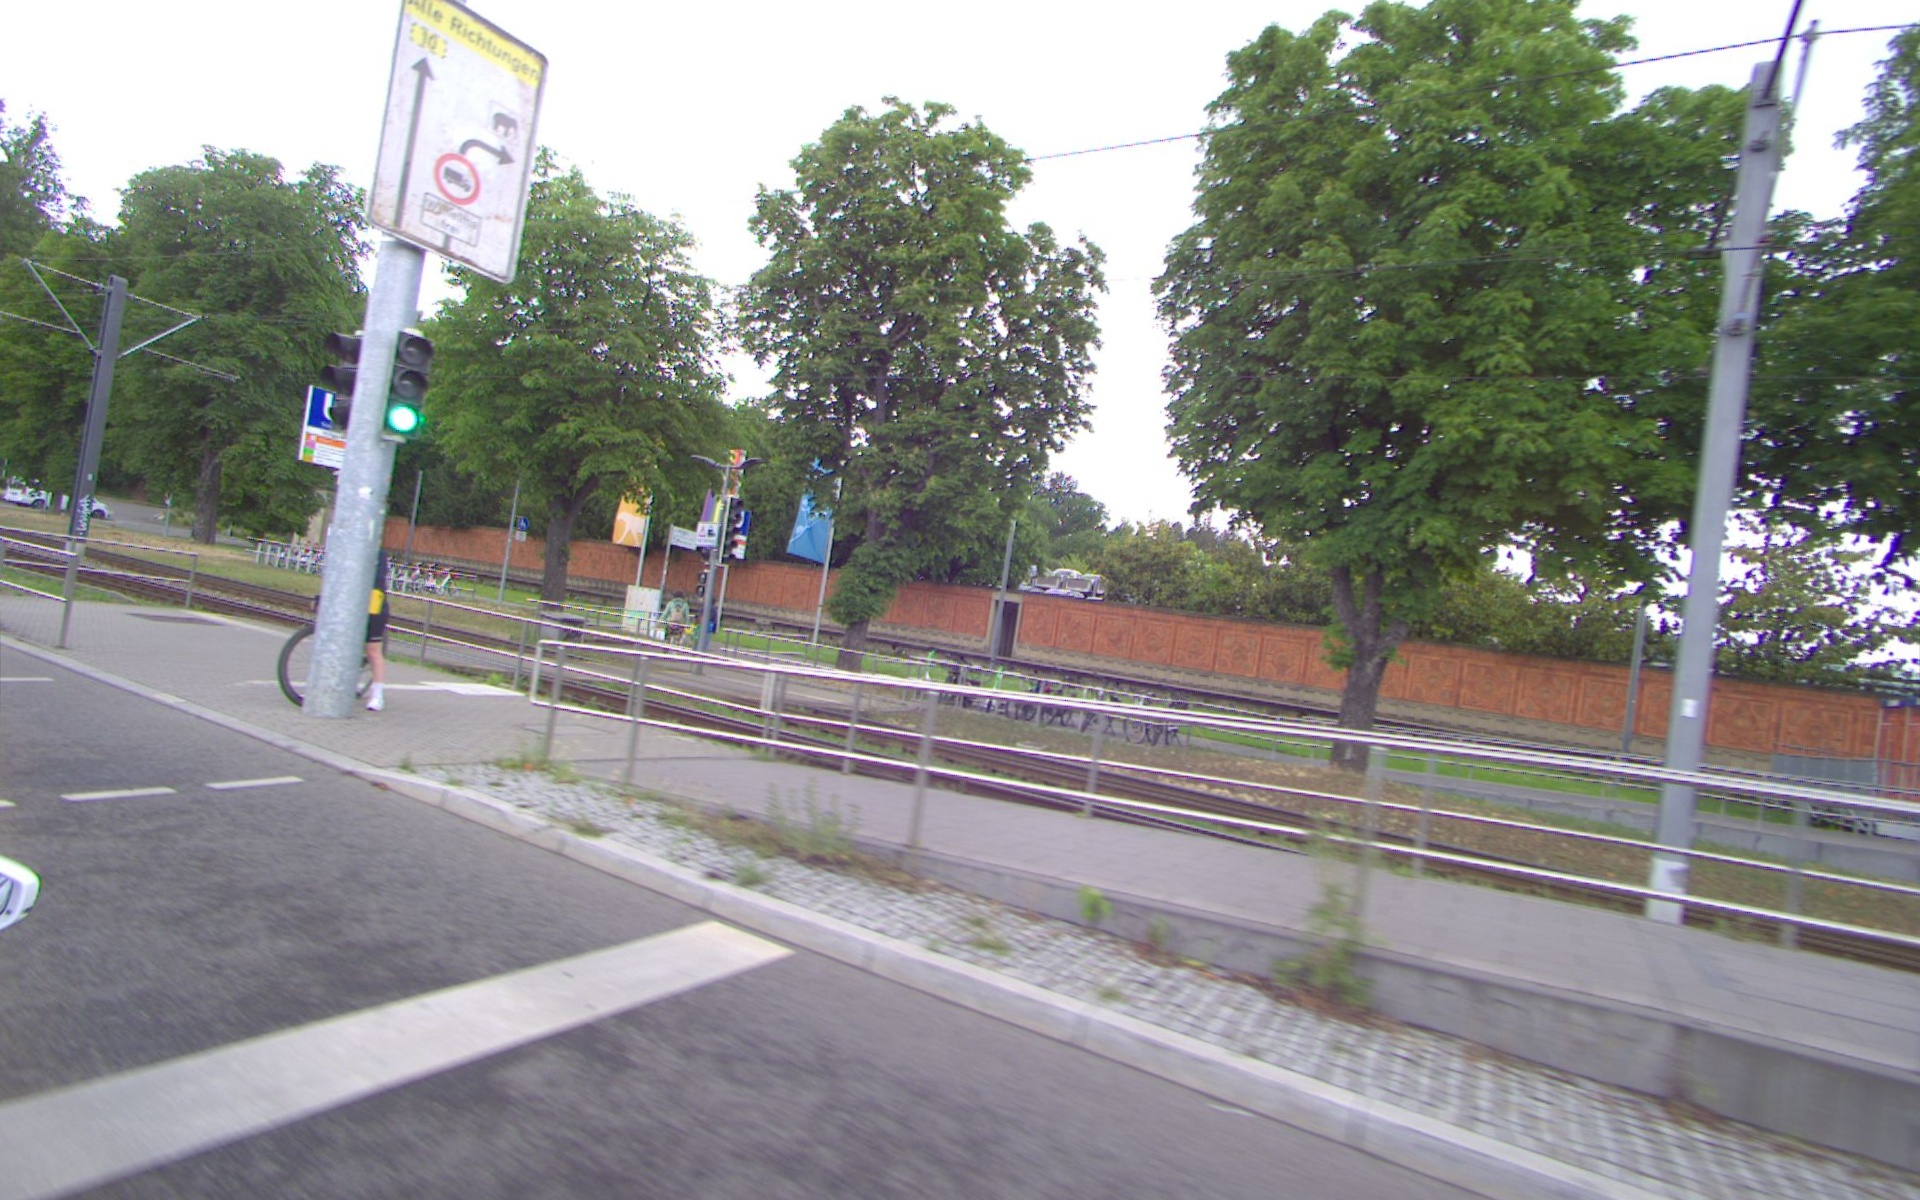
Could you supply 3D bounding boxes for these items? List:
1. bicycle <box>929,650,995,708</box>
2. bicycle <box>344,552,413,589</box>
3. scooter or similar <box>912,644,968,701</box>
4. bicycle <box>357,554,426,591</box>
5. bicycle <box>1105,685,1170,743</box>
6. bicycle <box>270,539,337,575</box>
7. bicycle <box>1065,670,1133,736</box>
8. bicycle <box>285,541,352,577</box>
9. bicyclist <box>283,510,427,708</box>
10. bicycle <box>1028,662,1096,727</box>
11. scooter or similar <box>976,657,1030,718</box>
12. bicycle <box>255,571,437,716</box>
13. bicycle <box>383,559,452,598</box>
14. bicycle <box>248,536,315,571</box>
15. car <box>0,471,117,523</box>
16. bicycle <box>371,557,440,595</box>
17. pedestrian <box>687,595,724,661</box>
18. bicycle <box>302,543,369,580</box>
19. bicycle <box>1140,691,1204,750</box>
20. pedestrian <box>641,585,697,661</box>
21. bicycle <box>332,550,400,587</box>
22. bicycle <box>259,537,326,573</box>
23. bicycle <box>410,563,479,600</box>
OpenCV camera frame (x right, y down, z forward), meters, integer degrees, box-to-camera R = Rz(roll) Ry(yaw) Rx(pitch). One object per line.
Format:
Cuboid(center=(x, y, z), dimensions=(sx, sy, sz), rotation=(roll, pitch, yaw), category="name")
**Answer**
Cuboid(center=(0.058, 1.744, 22.066), dimensions=(0.475, 1.044, 1.770), rotation=(7, -5, 31), category="bicycle")
Cuboid(center=(-19.842, -0.992, 34.363), dimensions=(0.522, 0.986, 1.916), rotation=(8, -2, 31), category="bicycle")
Cuboid(center=(-0.456, 1.678, 23.223), dimensions=(1.157, 1.151, 0.330), rotation=(12, -4, -35), category="scooter or similar")
Cuboid(center=(-19.208, -0.915, 34.012), dimensions=(0.522, 0.986, 1.916), rotation=(8, -2, 31), category="bicycle")
Cuboid(center=(3.566, 2.288, 20.064), dimensions=(0.524, 0.973, 1.880), rotation=(7, -5, 31), category="bicycle")
Cuboid(center=(-23.773, -1.555, 36.464), dimensions=(0.522, 0.986, 1.916), rotation=(8, -2, 31), category="bicycle")
Cuboid(center=(2.848, 2.114, 20.438), dimensions=(0.524, 1.150, 1.880), rotation=(7, -5, 31), category="bicycle")
Cuboid(center=(-23.081, -1.467, 36.236), dimensions=(0.522, 0.986, 1.916), rotation=(8, -2, 31), category="bicycle")
Cuboid(center=(-5.353, 0.086, 8.954), dimensions=(0.608, 1.590, 0.805), rotation=(10, -1, -8), category="bicyclist")
Cuboid(center=(2.157, 2.005, 21.097), dimensions=(0.524, 1.150, 1.880), rotation=(7, -5, 31), category="bicycle")
Cuboid(center=(0.936, 1.884, 21.632), dimensions=(0.328, 1.150, 1.277), rotation=(7, -5, 38), category="scooter or similar")
Cuboid(center=(-5.409, 0.363, 8.993), dimensions=(0.610, 1.086, 1.682), rotation=(10, -2, -8), category="bicycle")
Cuboid(center=(-17.886, -0.701, 33.209), dimensions=(0.522, 0.986, 1.916), rotation=(8, -2, 31), category="bicycle")
Cuboid(center=(-25.299, -1.728, 37.548), dimensions=(0.522, 0.986, 1.916), rotation=(8, -2, 31), category="bicycle")
Cuboid(center=(-57.516, -6.525, 64.183), dimensions=(2.167, 2.035, 5.158), rotation=(8, -4, 22), category="car")
Cuboid(center=(-18.450, -0.774, 33.499), dimensions=(0.522, 0.986, 1.916), rotation=(8, -2, 31), category="bicycle")
Cuboid(center=(-6.149, 0.690, 24.339), dimensions=(0.506, 1.519, 0.498), rotation=(8, -1, 9), category="pedestrian")
Cuboid(center=(-22.305, -1.364, 35.982), dimensions=(0.522, 0.986, 1.916), rotation=(8, -2, 31), category="bicycle")
Cuboid(center=(4.180, 2.374, 19.709), dimensions=(0.524, 0.973, 1.880), rotation=(7, -5, 31), category="bicycle")
Cuboid(center=(-6.711, 0.537, 23.230), dimensions=(0.763, 1.628, 0.836), rotation=(8, -1, 9), category="pedestrian")
Cuboid(center=(-20.498, -1.085, 34.753), dimensions=(0.522, 0.986, 1.916), rotation=(8, -2, 31), category="bicycle")
Cuboid(center=(-24.551, -1.642, 37.034), dimensions=(0.522, 0.986, 1.916), rotation=(8, -2, 31), category="bicycle")
Cuboid(center=(-16.825, -0.588, 32.857), dimensions=(0.522, 0.906, 1.916), rotation=(8, -2, 31), category="bicycle")
